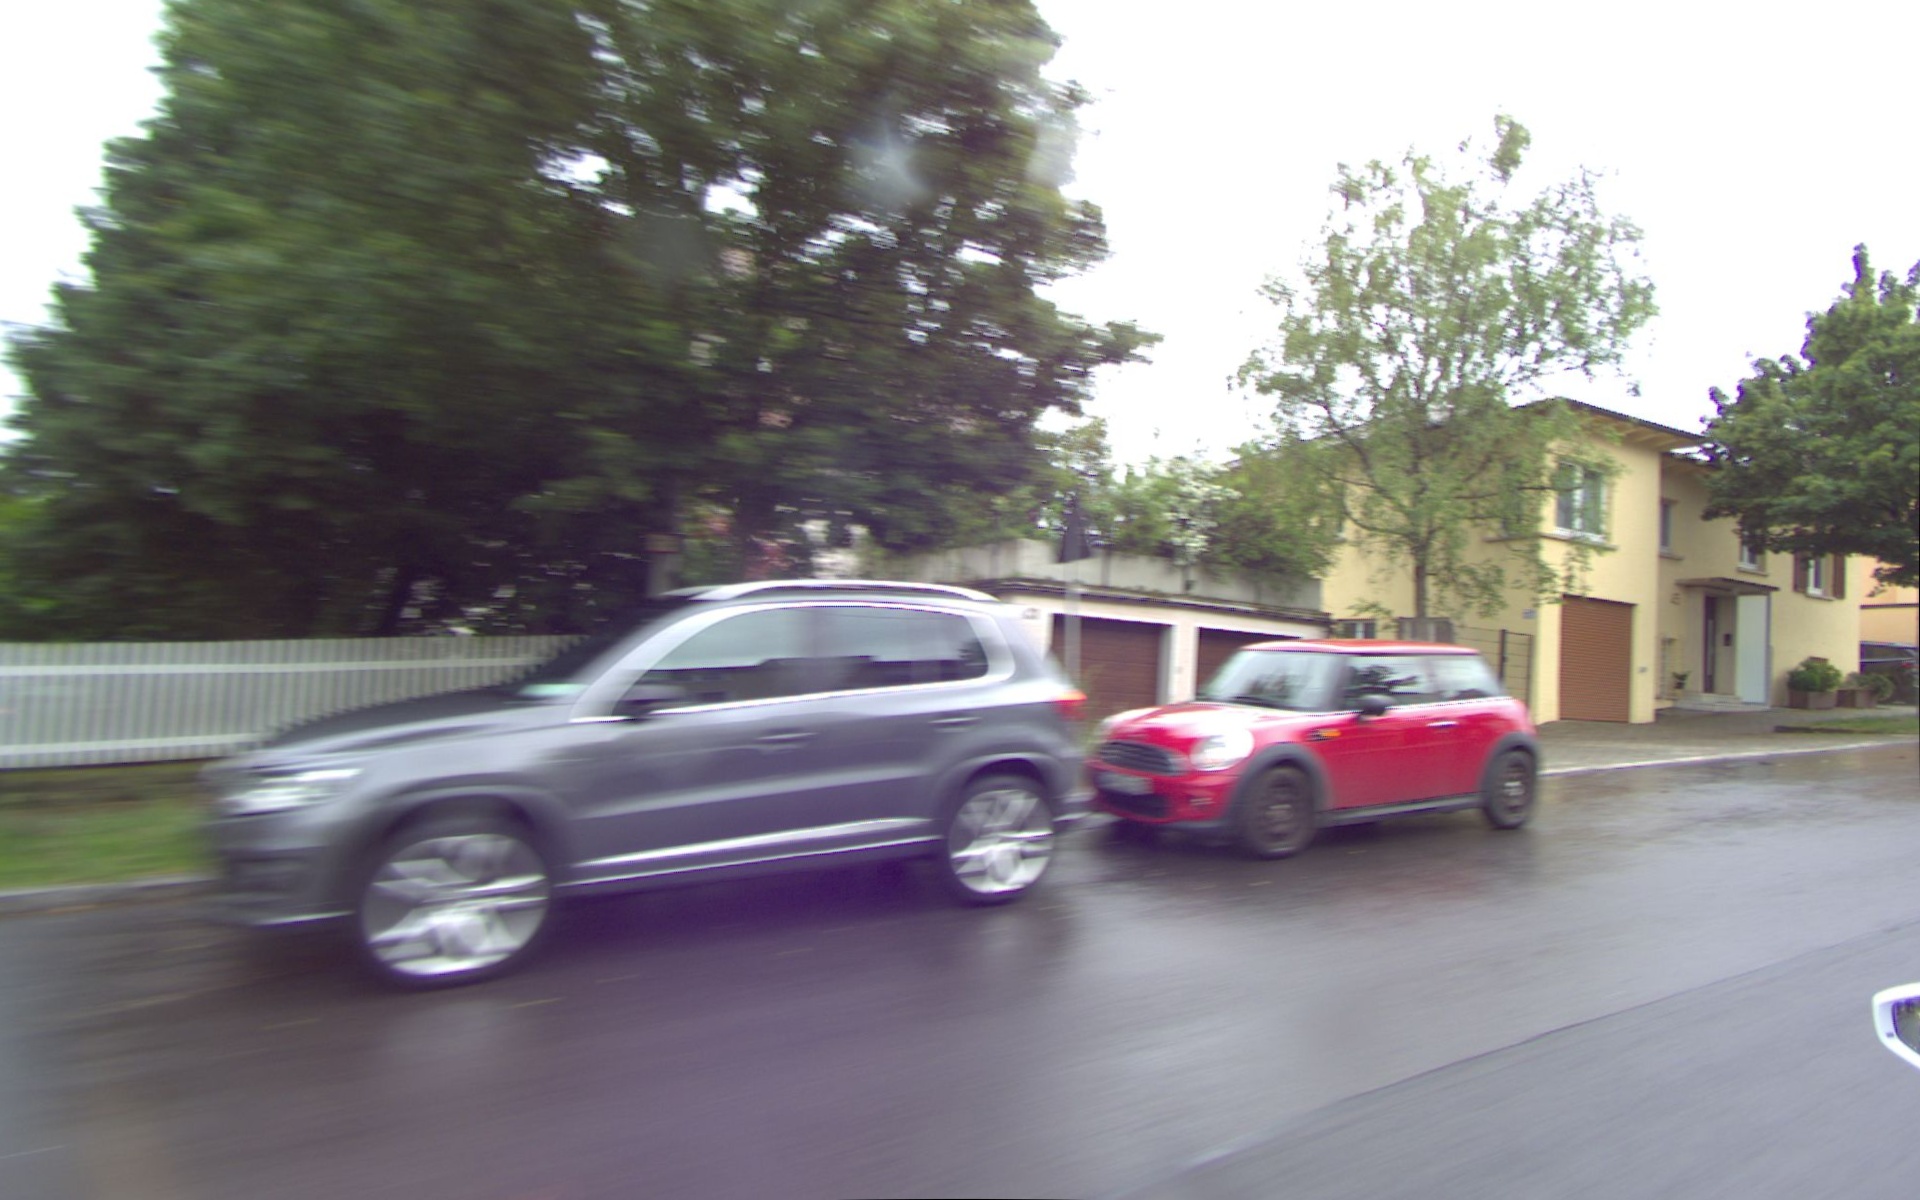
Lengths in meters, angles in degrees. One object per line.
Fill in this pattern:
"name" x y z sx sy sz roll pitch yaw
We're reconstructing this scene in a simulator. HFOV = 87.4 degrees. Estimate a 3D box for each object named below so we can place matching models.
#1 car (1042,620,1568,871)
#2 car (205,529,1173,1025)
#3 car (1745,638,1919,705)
"car" 2.680 0.951 7.648 3.818 1.491 1.675 2 -2 -29
"car" -1.123 0.696 5.342 4.375 1.690 1.792 2 -2 -31
"car" 24.439 1.906 27.699 1.838 1.667 4.042 2 -2 -24
